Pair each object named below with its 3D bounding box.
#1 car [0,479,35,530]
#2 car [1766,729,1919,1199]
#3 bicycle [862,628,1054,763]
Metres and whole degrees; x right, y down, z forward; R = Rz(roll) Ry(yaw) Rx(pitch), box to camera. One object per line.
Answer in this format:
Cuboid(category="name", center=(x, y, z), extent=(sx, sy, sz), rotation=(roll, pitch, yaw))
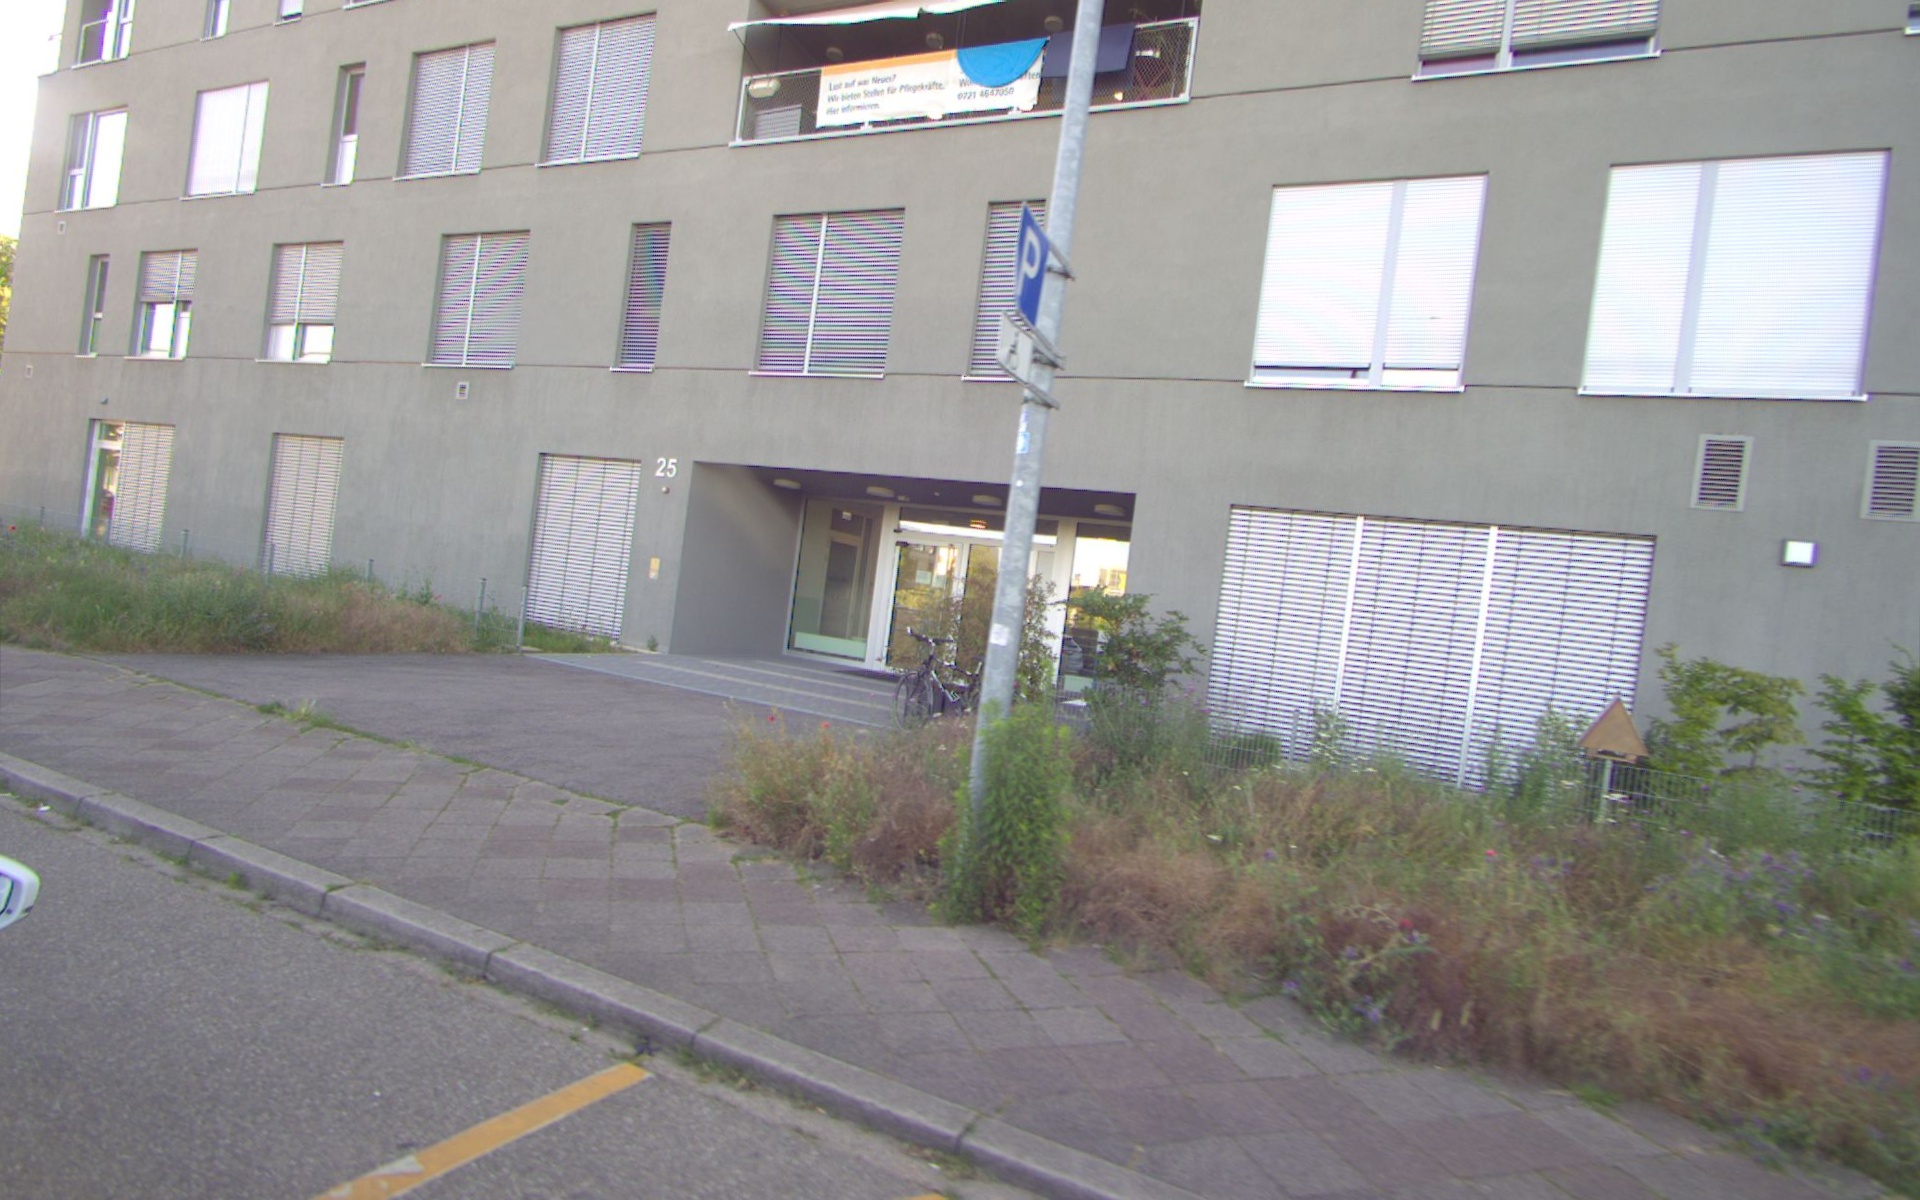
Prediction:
Cuboid(category="car", center=(-31.136, -3.187, 31.081), extent=(1.685, 1.476, 3.332), rotation=(8, 0, 30))
Cuboid(category="car", center=(3.160, 1.172, 0.425), extent=(4.081, 1.543, 1.713), rotation=(7, -3, 26))
Cuboid(category="bicycle", center=(-0.043, 0.951, 10.295), extent=(1.810, 1.074, 0.553), rotation=(7, 0, 30))
